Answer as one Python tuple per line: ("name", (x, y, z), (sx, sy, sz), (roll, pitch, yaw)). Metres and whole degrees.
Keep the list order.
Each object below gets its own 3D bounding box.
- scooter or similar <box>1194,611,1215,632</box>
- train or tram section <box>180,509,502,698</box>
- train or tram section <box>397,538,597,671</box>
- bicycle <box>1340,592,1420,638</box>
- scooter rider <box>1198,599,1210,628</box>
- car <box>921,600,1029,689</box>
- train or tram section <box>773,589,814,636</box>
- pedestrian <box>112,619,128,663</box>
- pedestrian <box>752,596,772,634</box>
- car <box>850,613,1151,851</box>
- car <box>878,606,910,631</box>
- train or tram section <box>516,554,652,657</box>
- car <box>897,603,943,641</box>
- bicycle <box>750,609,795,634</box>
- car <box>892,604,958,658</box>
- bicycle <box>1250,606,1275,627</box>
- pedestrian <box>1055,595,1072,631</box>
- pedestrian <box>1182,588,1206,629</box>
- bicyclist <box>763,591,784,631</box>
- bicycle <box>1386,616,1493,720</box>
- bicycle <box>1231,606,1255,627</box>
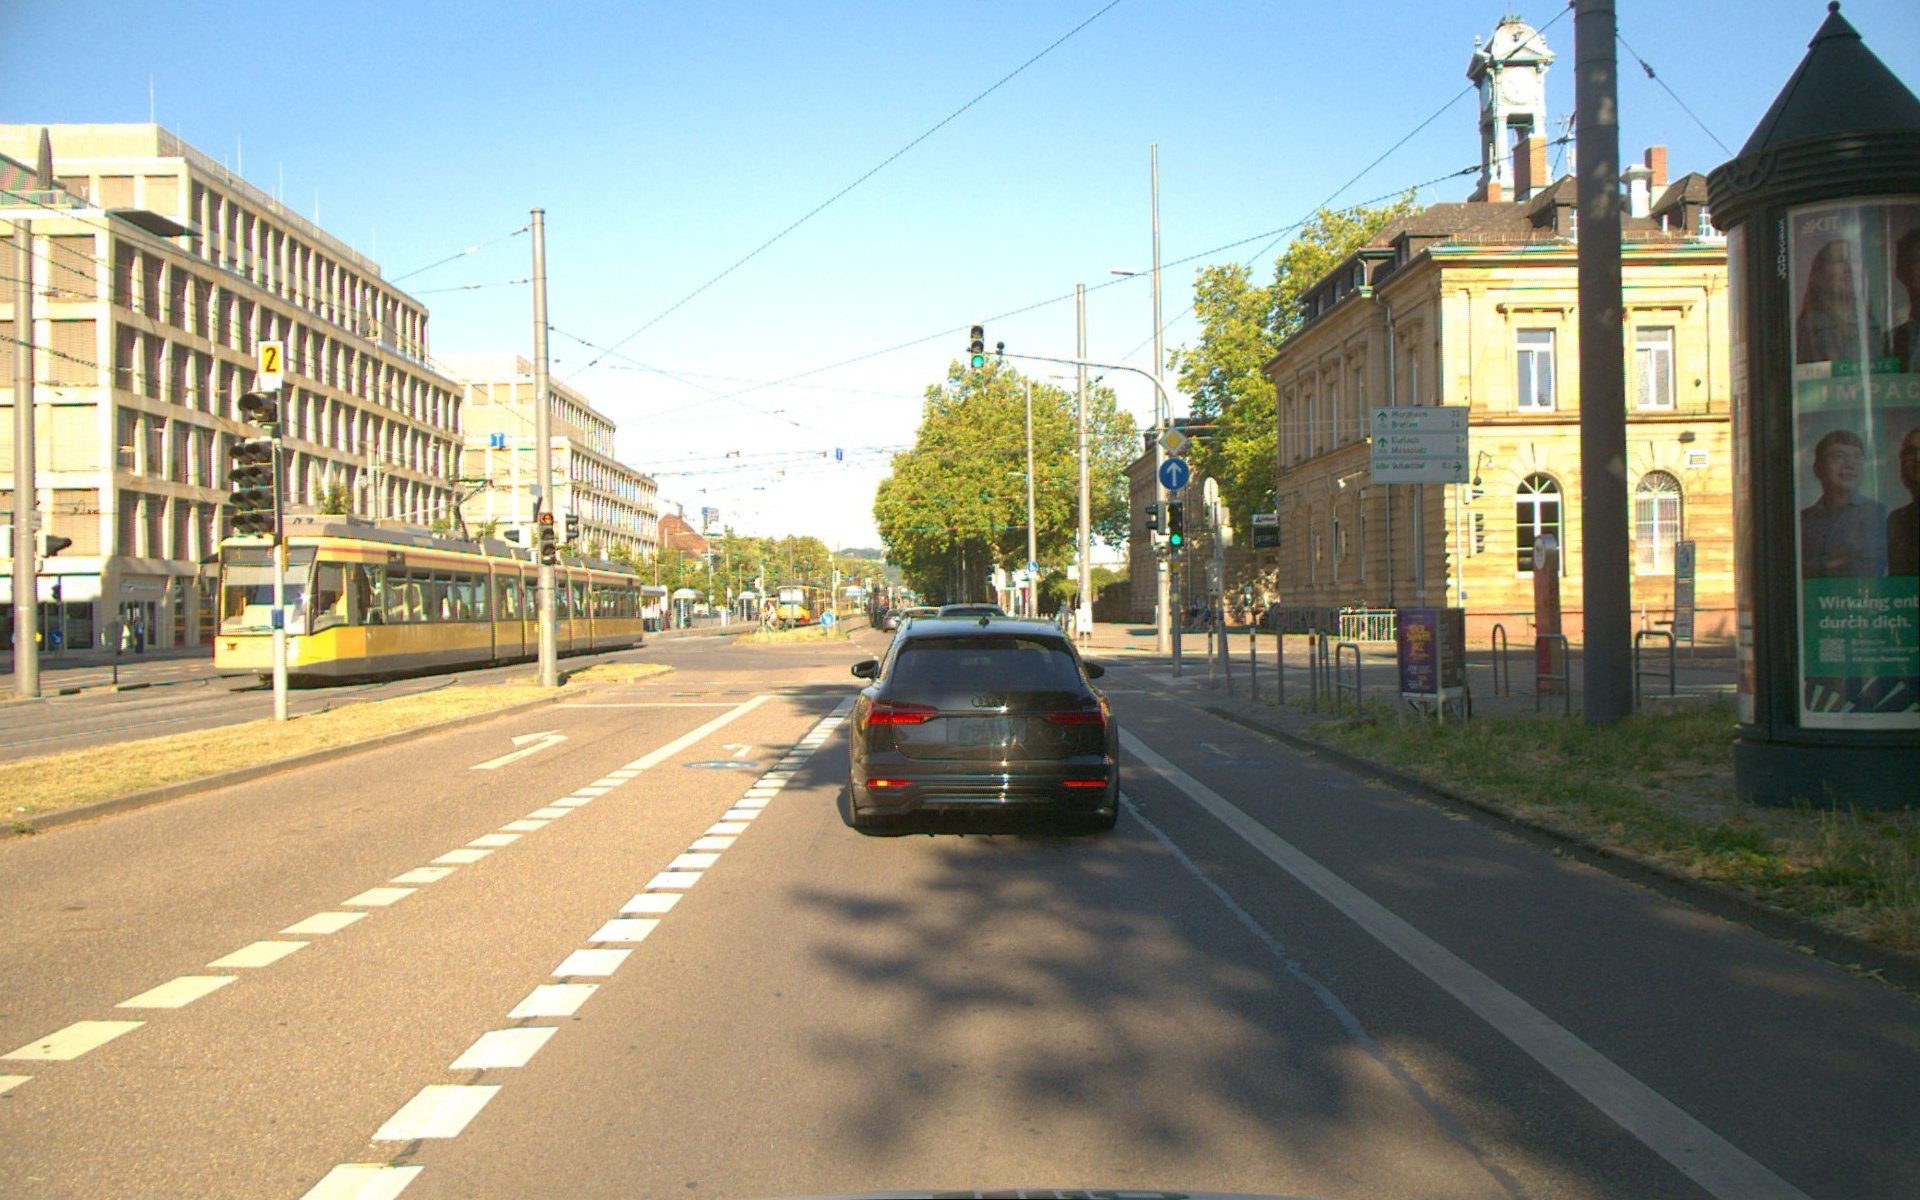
("scooter or similar", (11.935, 1.070, 80.773), (0.920, 0.983, 0.361), (-2, -1, -4))
("train or tram section", (-13.734, 0.094, 38.392), (2.756, 3.550, 13.199), (-1, 0, -1))
("train or tram section", (-14.049, 0.155, 51.602), (2.756, 3.550, 13.199), (-1, 0, -1))
("bicycle", (12.175, 0.443, 47.974), (2.094, 1.230, 0.765), (-3, 0, -4))
("scooter rider", (11.920, 0.656, 80.784), (0.475, 1.410, 0.377), (-2, -1, -4))
("car", (0.223, 0.784, 30.851), (1.864, 1.512, 4.143), (-1, 0, -1))
("train or tram section", (-13.028, 0.969, 130.024), (2.557, 3.511, 11.124), (-1, 0, -3))
("pedestrian", (-36.289, 1.789, 71.449), (0.469, 1.876, 0.436), (-1, -1, -40))
("pedestrian", (-9.468, 0.705, 79.016), (0.731, 1.772, 0.658), (-1, 0, -26))
("car", (0.216, 0.840, 12.378), (1.864, 1.446, 4.143), (-1, 0, -1))
("car", (-4.085, 1.140, 102.884), (1.864, 1.512, 4.143), (-1, 0, -1))
("train or tram section", (-14.359, 0.225, 64.270), (2.756, 3.550, 12.149), (-1, 0, -1))
("car", (-1.654, 0.887, 68.942), (1.864, 1.512, 4.143), (-1, 0, -1))
("bicycle", (-8.808, 0.997, 77.597), (1.978, 1.127, 0.759), (-2, 0, -23))
("car", (-1.047, 0.906, 49.825), (1.864, 1.512, 4.143), (-1, 0, -1))
("bicycle", (15.880, 0.874, 86.783), (0.516, 1.065, 2.354), (-1, 0, -9))
("pedestrian", (4.923, 0.618, 78.640), (0.668, 1.690, 0.758), (-1, 0, -3))
("pedestrian", (10.995, 0.399, 77.835), (0.959, 1.898, 0.826), (-1, 0, -3))
("bicyclist", (-8.751, 0.505, 77.636), (0.746, 1.850, 0.759), (-1, 0, -22))
("bicycle", (5.367, 0.736, 18.606), (0.529, 1.080, 1.769), (-2, 0, -5))
("bicycle", (14.836, 0.873, 86.771), (0.516, 1.065, 2.354), (-1, 0, -9))
